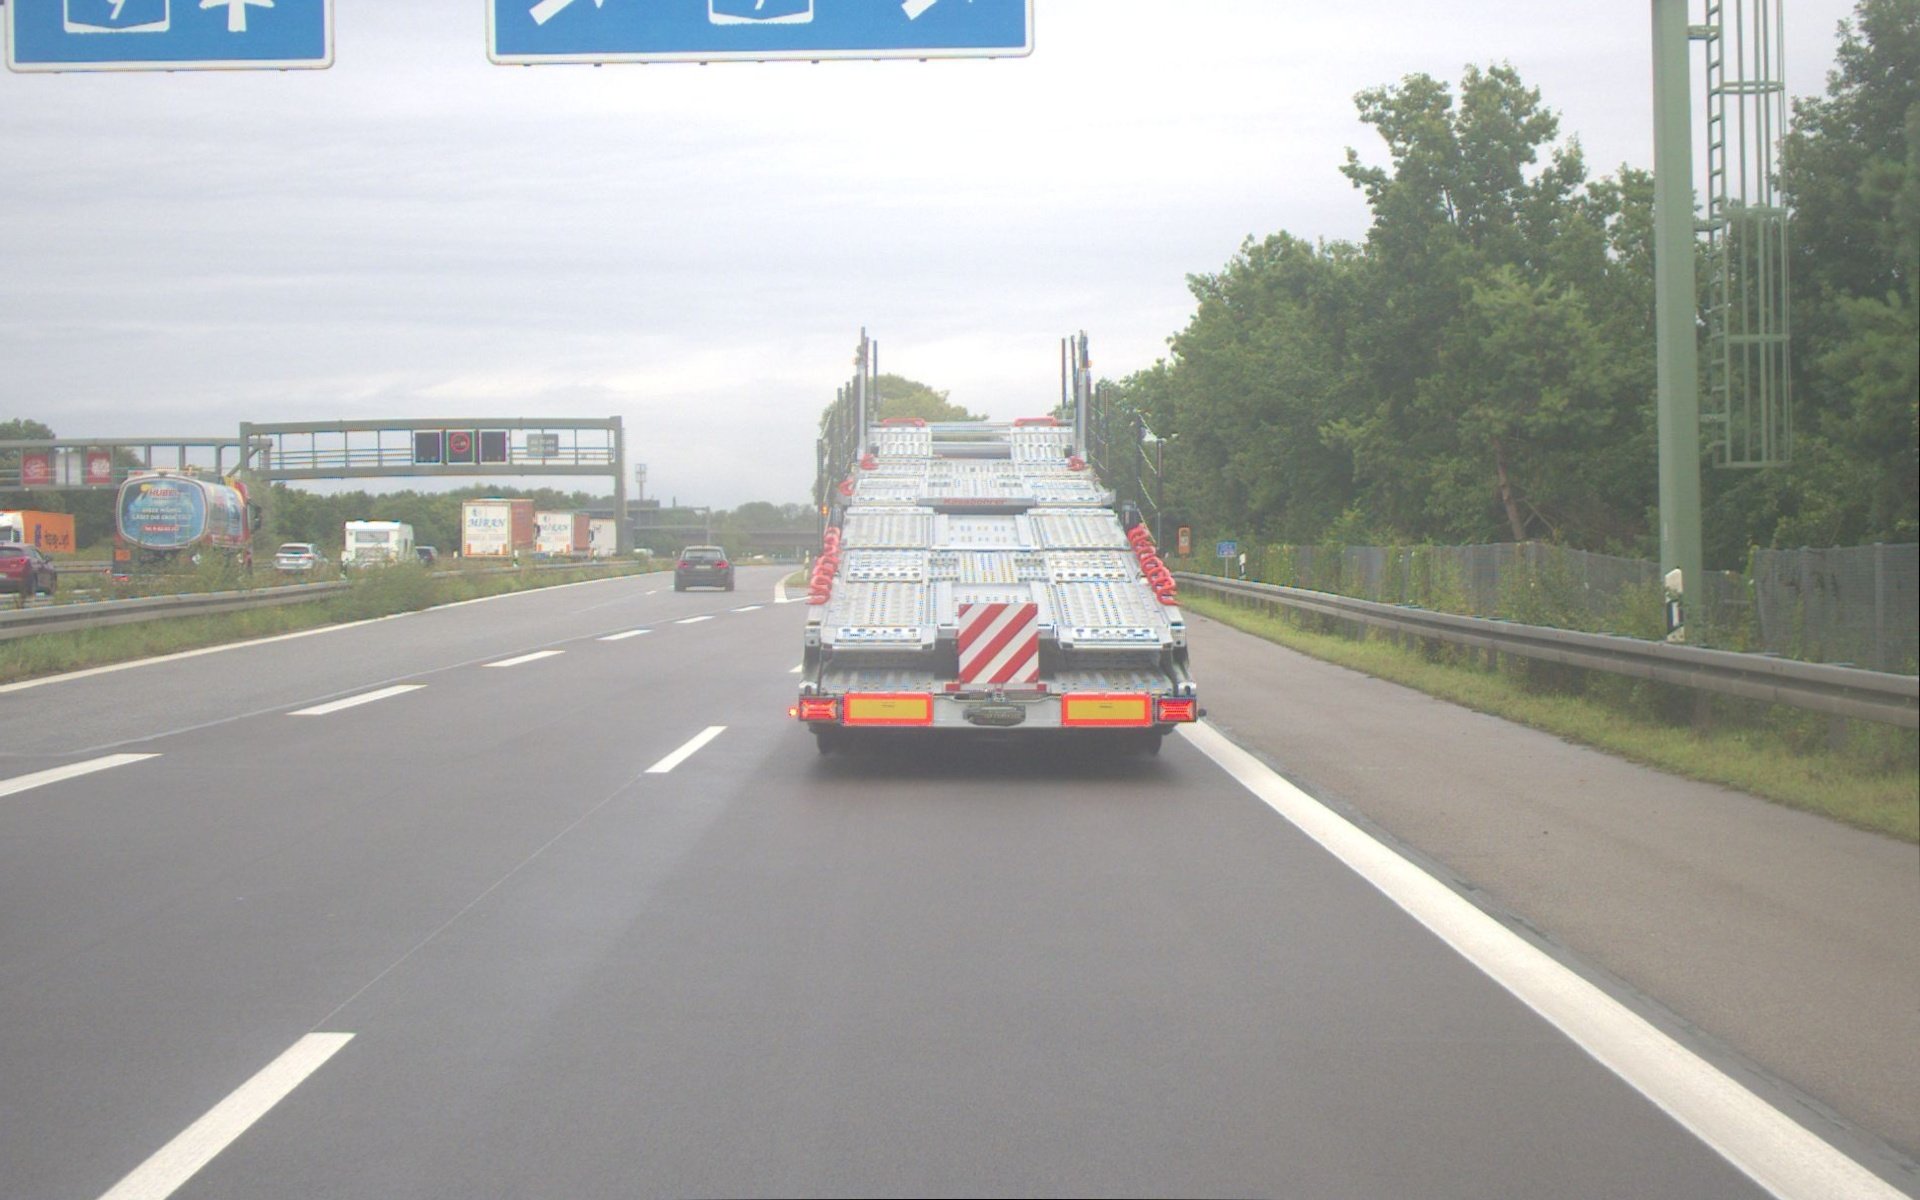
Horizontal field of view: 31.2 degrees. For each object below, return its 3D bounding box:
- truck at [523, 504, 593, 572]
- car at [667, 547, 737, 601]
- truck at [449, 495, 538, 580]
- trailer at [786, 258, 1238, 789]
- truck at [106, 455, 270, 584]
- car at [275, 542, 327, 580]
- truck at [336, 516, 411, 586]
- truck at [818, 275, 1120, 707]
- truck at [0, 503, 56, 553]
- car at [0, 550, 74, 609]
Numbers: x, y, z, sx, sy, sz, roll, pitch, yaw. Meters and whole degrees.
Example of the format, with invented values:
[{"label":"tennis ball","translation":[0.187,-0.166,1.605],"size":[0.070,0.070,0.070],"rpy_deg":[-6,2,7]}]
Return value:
[{"label":"truck","translation":[-27.119,-4.207,232.181],"size":[3.733,4.402,11.898],"rpy_deg":[1,1,-2]},{"label":"car","translation":[-8.074,-0.817,107.952],"size":[1.961,1.632,5.626],"rpy_deg":[1,0,-2]},{"label":"truck","translation":[-25.149,-3.380,185.919],"size":[3.733,4.402,10.196],"rpy_deg":[1,1,-2]},{"label":"trailer","translation":[0.200,-0.570,26.701],"size":[2.777,3.273,10.408],"rpy_deg":[1,1,-1]},{"label":"truck","translation":[-21.082,-2.168,94.320],"size":[2.856,3.353,8.632],"rpy_deg":[1,1,-2]},{"label":"car","translation":[-27.640,-1.636,144.322],"size":[1.682,1.525,4.001],"rpy_deg":[1,1,-5]},{"label":"truck","translation":[-23.527,-1.977,138.086],"size":[2.243,2.695,5.280],"rpy_deg":[1,1,-2]},{"label":"truck","translation":[0.027,-1.095,36.421],"size":[2.738,3.954,9.129],"rpy_deg":[1,1,-1]},{"label":"truck","translation":[-52.005,-3.970,188.331],"size":[2.712,2.620,9.819],"rpy_deg":[4,1,-3]},{"label":"car","translation":[-25.305,-0.568,92.994],"size":[1.794,1.551,3.827],"rpy_deg":[1,0,-2]}]
